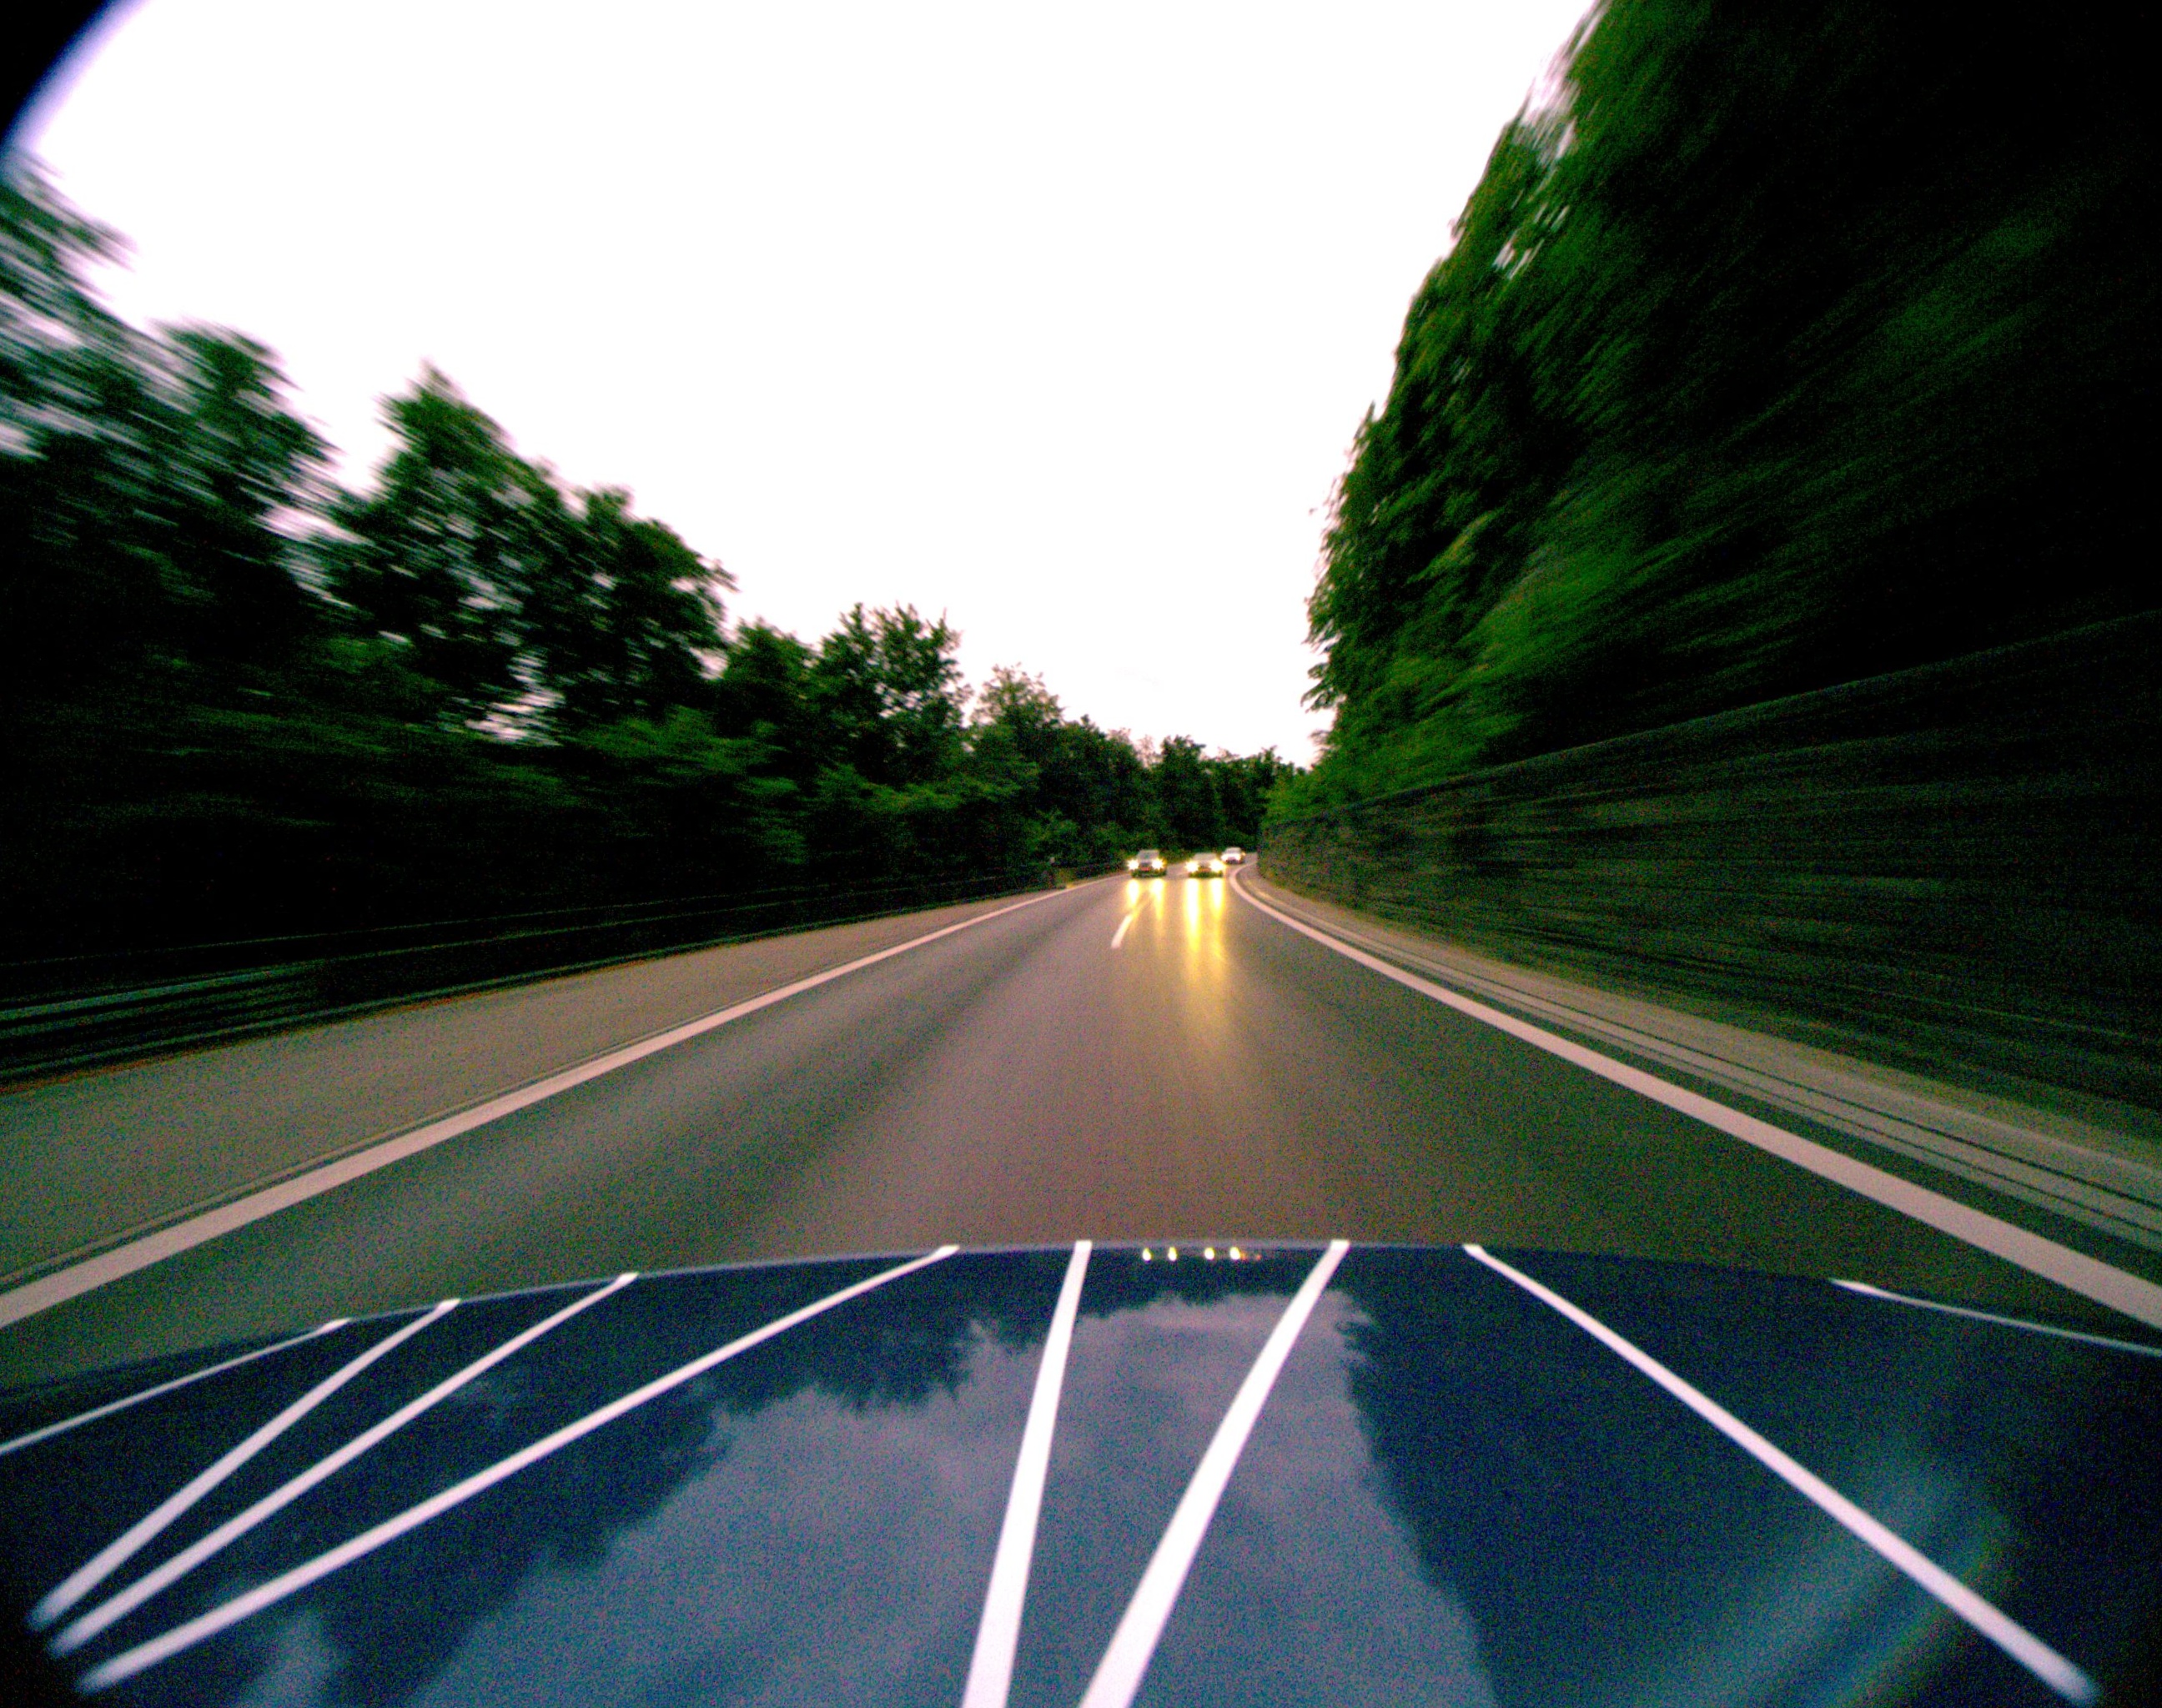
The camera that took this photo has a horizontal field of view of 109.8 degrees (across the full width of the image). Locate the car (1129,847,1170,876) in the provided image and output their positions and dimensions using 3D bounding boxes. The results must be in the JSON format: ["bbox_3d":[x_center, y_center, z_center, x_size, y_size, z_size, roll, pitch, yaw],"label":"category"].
[{"bbox_3d":[4.306,0.430,47.206,1.997,1.630,4.003,-3,0,12],"label":"car"}]

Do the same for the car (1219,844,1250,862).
[{"bbox_3d":[14.268,-0.096,70.379,1.995,1.499,4.006,-3,0,23],"label":"car"}]

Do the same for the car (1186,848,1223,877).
[{"bbox_3d":[7.205,0.474,44.450,1.997,1.499,4.001,0,2,9],"label":"car"}]
